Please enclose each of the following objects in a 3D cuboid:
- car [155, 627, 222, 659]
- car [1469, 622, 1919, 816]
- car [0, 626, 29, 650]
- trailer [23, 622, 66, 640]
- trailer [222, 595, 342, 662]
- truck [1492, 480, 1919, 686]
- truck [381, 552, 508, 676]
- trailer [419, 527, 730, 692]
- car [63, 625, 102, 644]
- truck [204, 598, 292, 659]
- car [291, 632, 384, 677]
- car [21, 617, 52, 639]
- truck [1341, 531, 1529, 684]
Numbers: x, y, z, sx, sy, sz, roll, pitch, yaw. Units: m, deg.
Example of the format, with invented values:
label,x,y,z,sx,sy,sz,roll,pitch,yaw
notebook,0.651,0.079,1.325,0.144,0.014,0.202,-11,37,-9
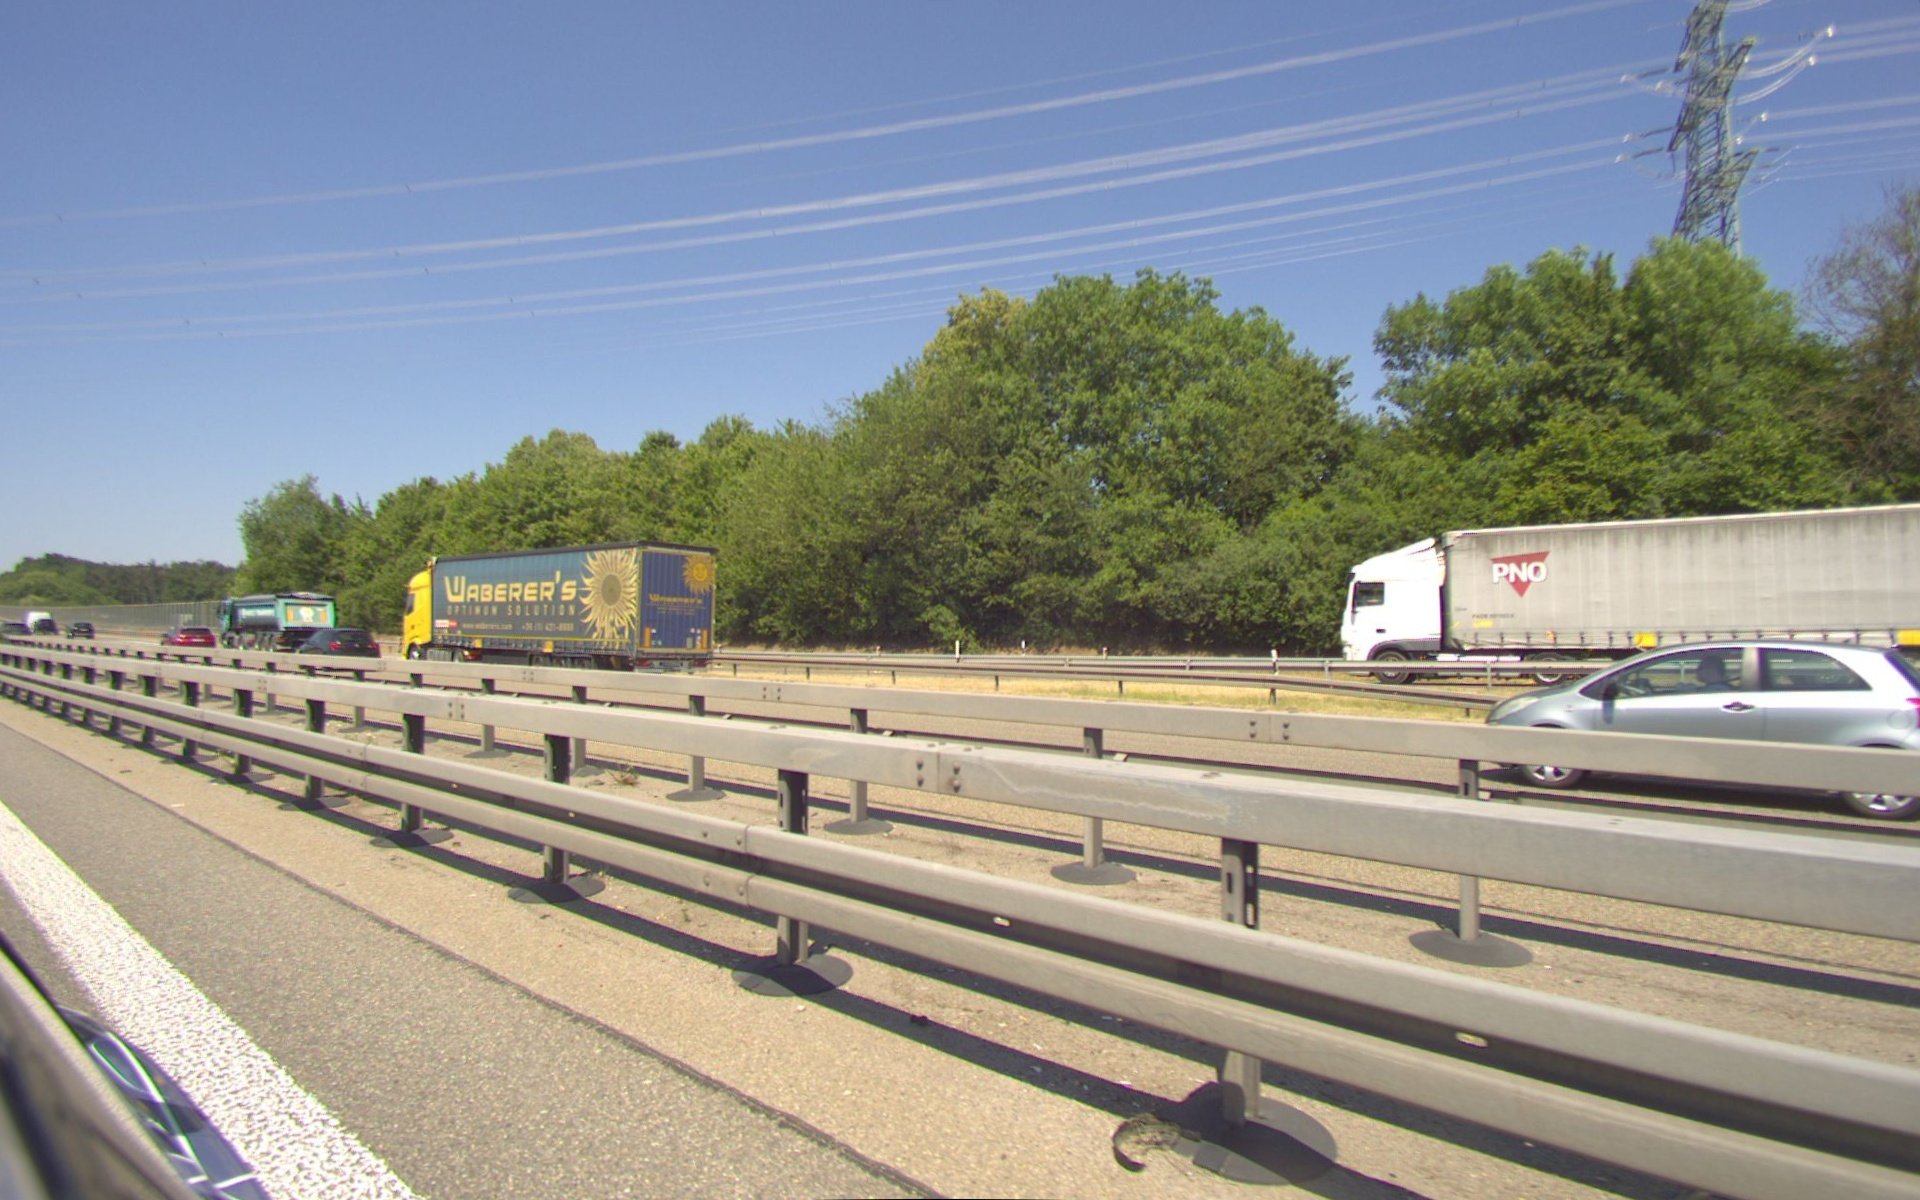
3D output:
label,x,y,z,sx,sy,sz,roll,pitch,yaw
car,-39.172,2.170,51.366,4.382,1.542,1.763,-1,-4,41
car,7.201,1.028,9.680,3.881,1.542,1.763,-1,-4,41
car,-66.204,2.649,70.363,3.998,1.637,1.763,-1,-2,41
trailer,-108.634,3.689,120.017,6.717,1.961,2.737,-1,-3,39
trailer,-36.279,1.515,53.988,9.705,3.326,2.883,-1,-2,41
truck,20.845,-0.323,23.695,14.501,4.374,2.972,-4,-3,33
truck,-19.451,0.550,38.177,3.511,4.374,3.142,-2,-2,40
trailer,-12.861,0.410,32.480,13.803,4.374,3.142,-1,-2,41
car,-85.689,3.394,98.810,4.509,1.813,2.136,-1,-3,39
truck,-40.795,1.609,57.949,5.328,3.326,2.883,-1,-2,41
car,-21.830,1.892,35.428,4.146,1.480,1.694,-2,-4,43
car,-113.370,3.439,124.249,6.001,2.660,2.087,-1,-3,41
truck,13.394,0.318,28.547,4.311,3.926,2.921,-4,-3,33
